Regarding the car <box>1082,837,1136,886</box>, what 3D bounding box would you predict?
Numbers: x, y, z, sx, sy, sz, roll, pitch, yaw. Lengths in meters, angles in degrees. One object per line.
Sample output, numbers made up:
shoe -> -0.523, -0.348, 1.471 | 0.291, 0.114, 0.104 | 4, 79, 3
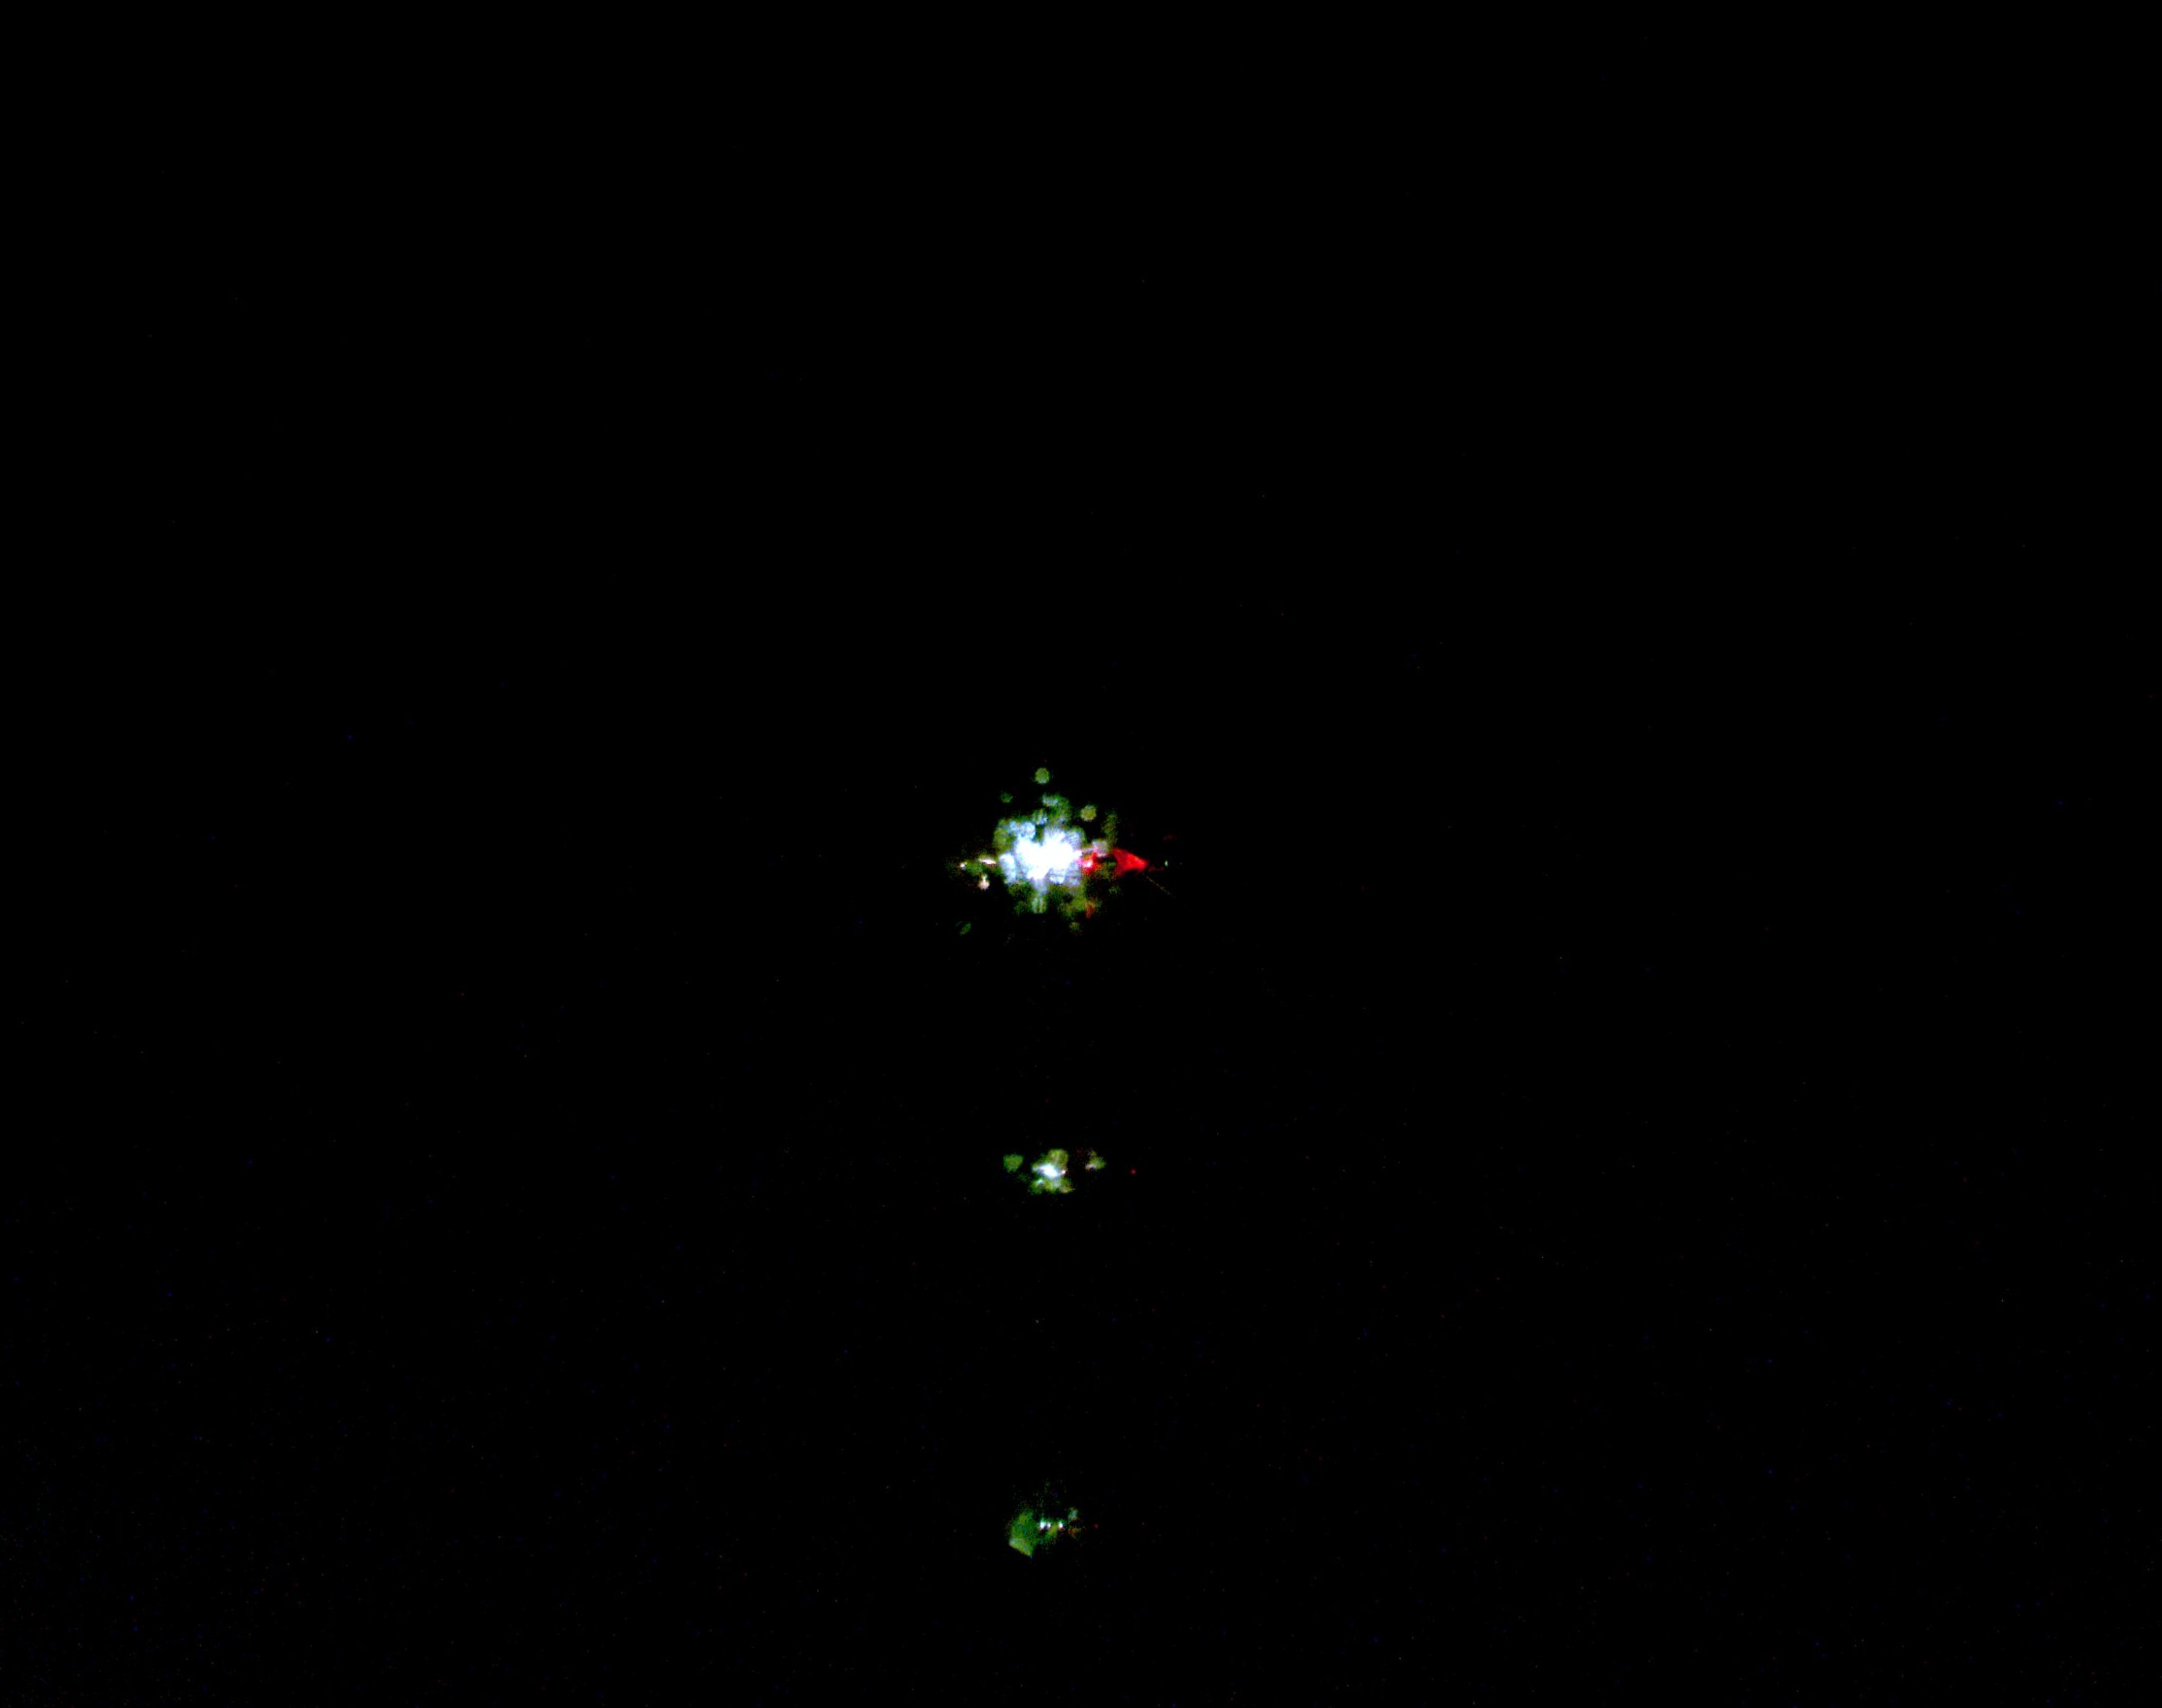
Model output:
car -> 1.131, 0.252, 32.441 | 1.985, 1.806, 3.921 | -1, 1, 3
